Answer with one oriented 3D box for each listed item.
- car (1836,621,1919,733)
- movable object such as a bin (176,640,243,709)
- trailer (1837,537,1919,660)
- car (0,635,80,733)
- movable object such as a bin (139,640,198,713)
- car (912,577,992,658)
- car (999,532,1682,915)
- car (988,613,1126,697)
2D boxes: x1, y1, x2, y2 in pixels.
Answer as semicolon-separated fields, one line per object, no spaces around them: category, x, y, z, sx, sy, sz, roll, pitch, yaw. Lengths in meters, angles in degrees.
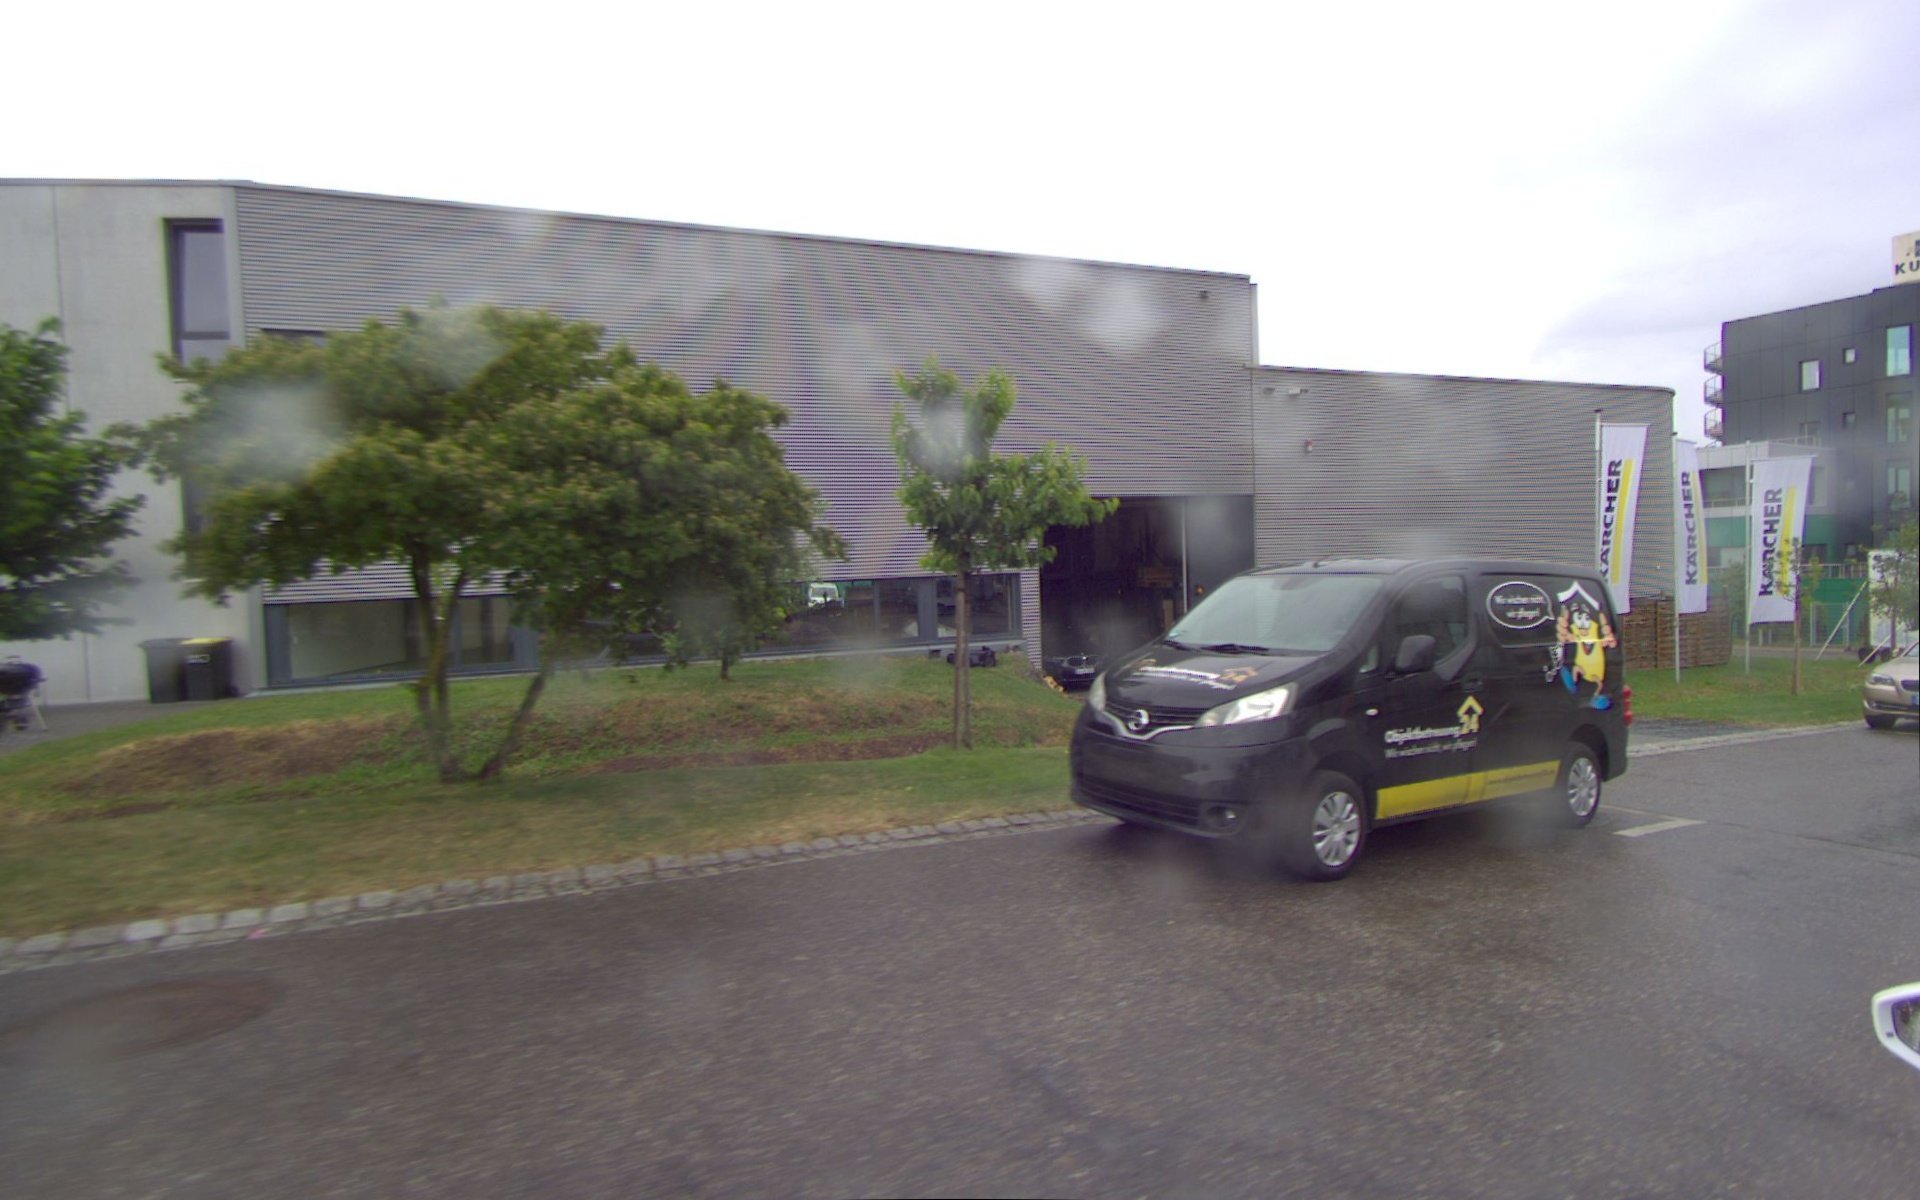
car;15.011;1.052;14.698;5.190;1.480;1.945;0;-1;-33
movable object such as a bin;-12.760;1.257;17.099;0.661;1.111;0.636;-1;-1;-6
trailer;34.455;-0.017;36.372;1.965;4.259;4.189;0;-1;6
car;-16.387;1.262;14.915;4.604;1.415;1.997;0;-1;-9
movable object such as a bin;-13.365;1.286;16.973;0.557;1.181;0.556;-1;-1;-6
car;-0.407;0.544;36.783;2.082;2.634;5.699;-3;1;-8
car;2.781;0.627;6.947;4.793;1.856;1.905;1;0;-32
car;2.381;1.316;25.813;1.904;1.796;4.205;-3;1;-19
